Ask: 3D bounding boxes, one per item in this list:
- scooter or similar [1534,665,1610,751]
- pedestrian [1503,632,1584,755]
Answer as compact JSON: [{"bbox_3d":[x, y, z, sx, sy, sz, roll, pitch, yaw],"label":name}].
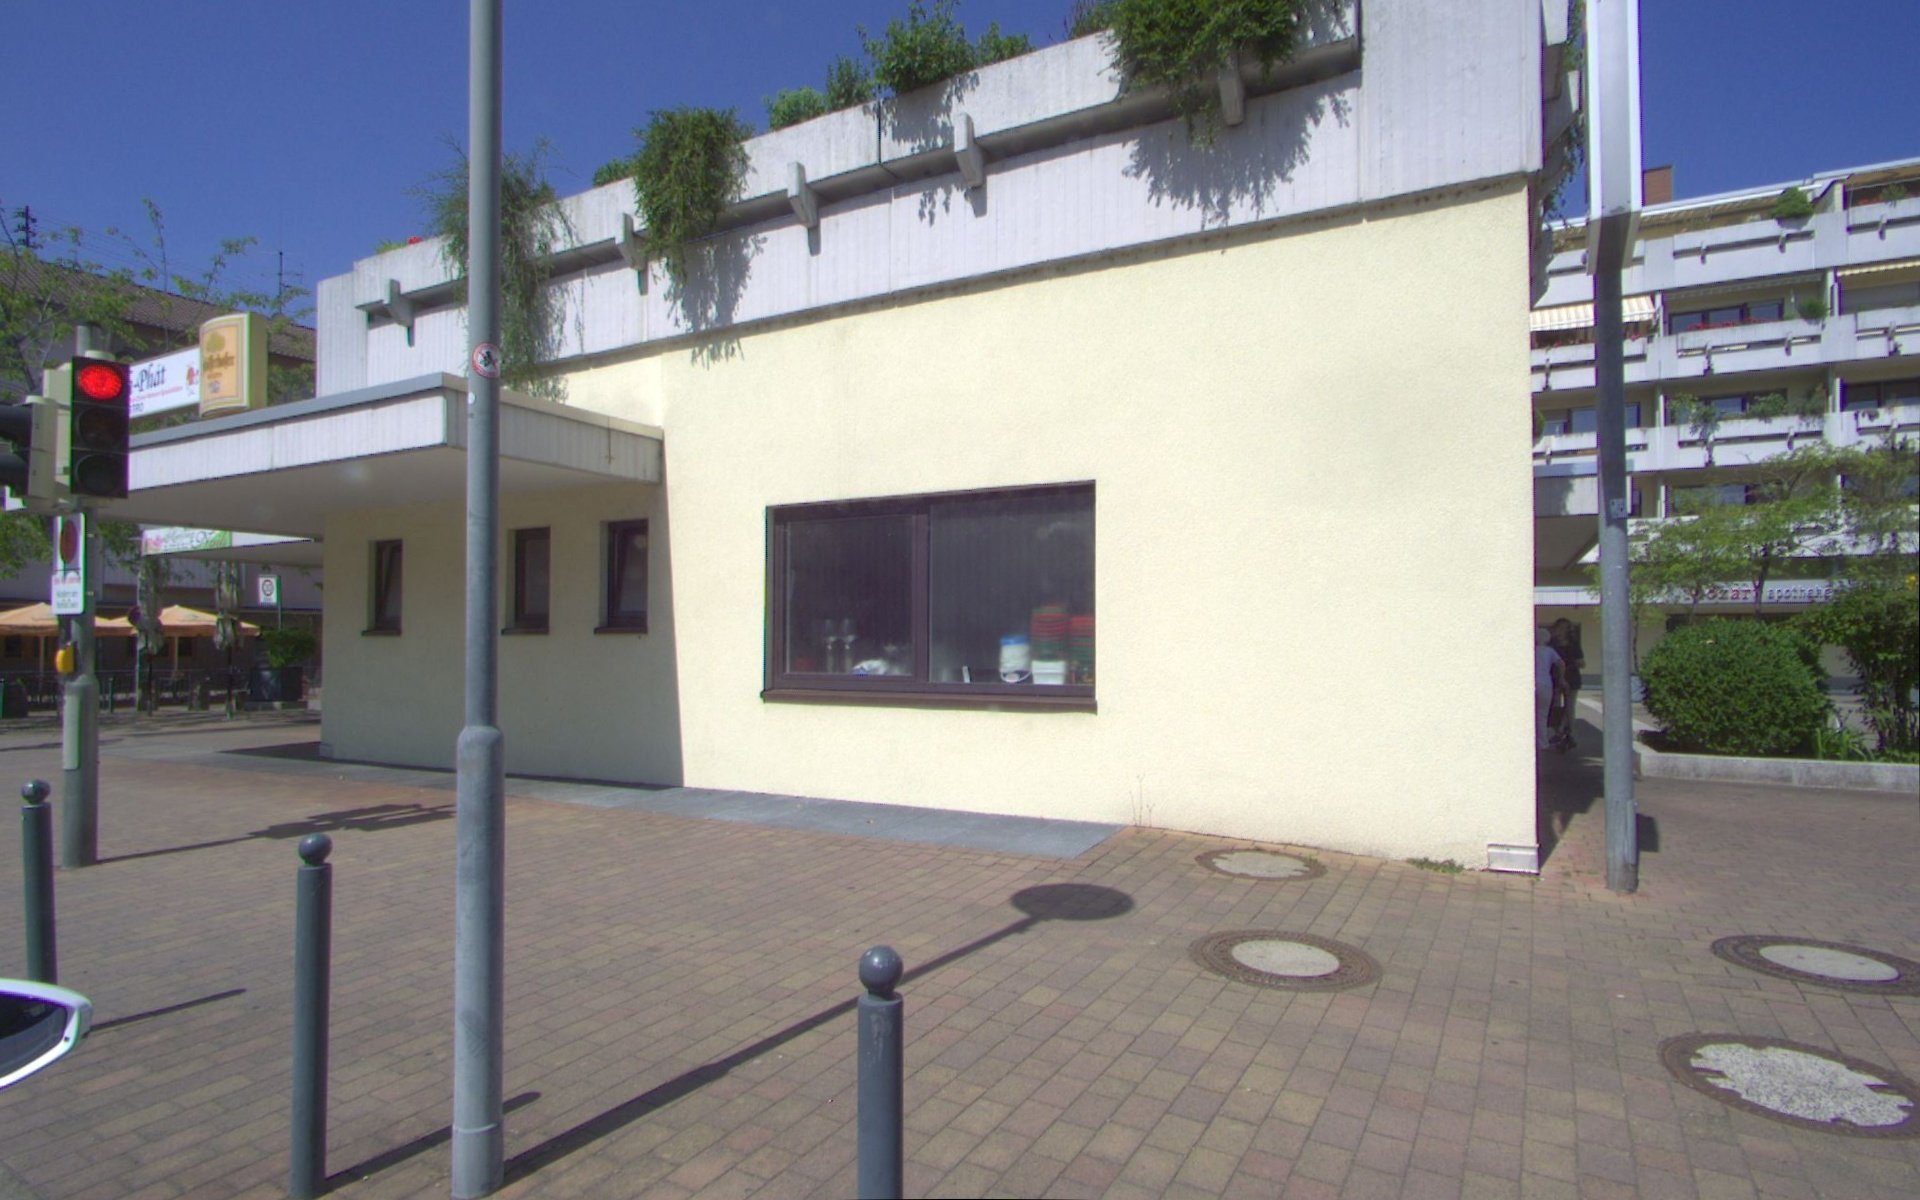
[{"bbox_3d":[8.136,1.417,13.320,0.795,1.088,0.587,2,-2,-35],"label":"scooter or similar"},{"bbox_3d":[7.491,1.181,12.860,0.801,1.516,0.615,1,-2,-35],"label":"pedestrian"}]
